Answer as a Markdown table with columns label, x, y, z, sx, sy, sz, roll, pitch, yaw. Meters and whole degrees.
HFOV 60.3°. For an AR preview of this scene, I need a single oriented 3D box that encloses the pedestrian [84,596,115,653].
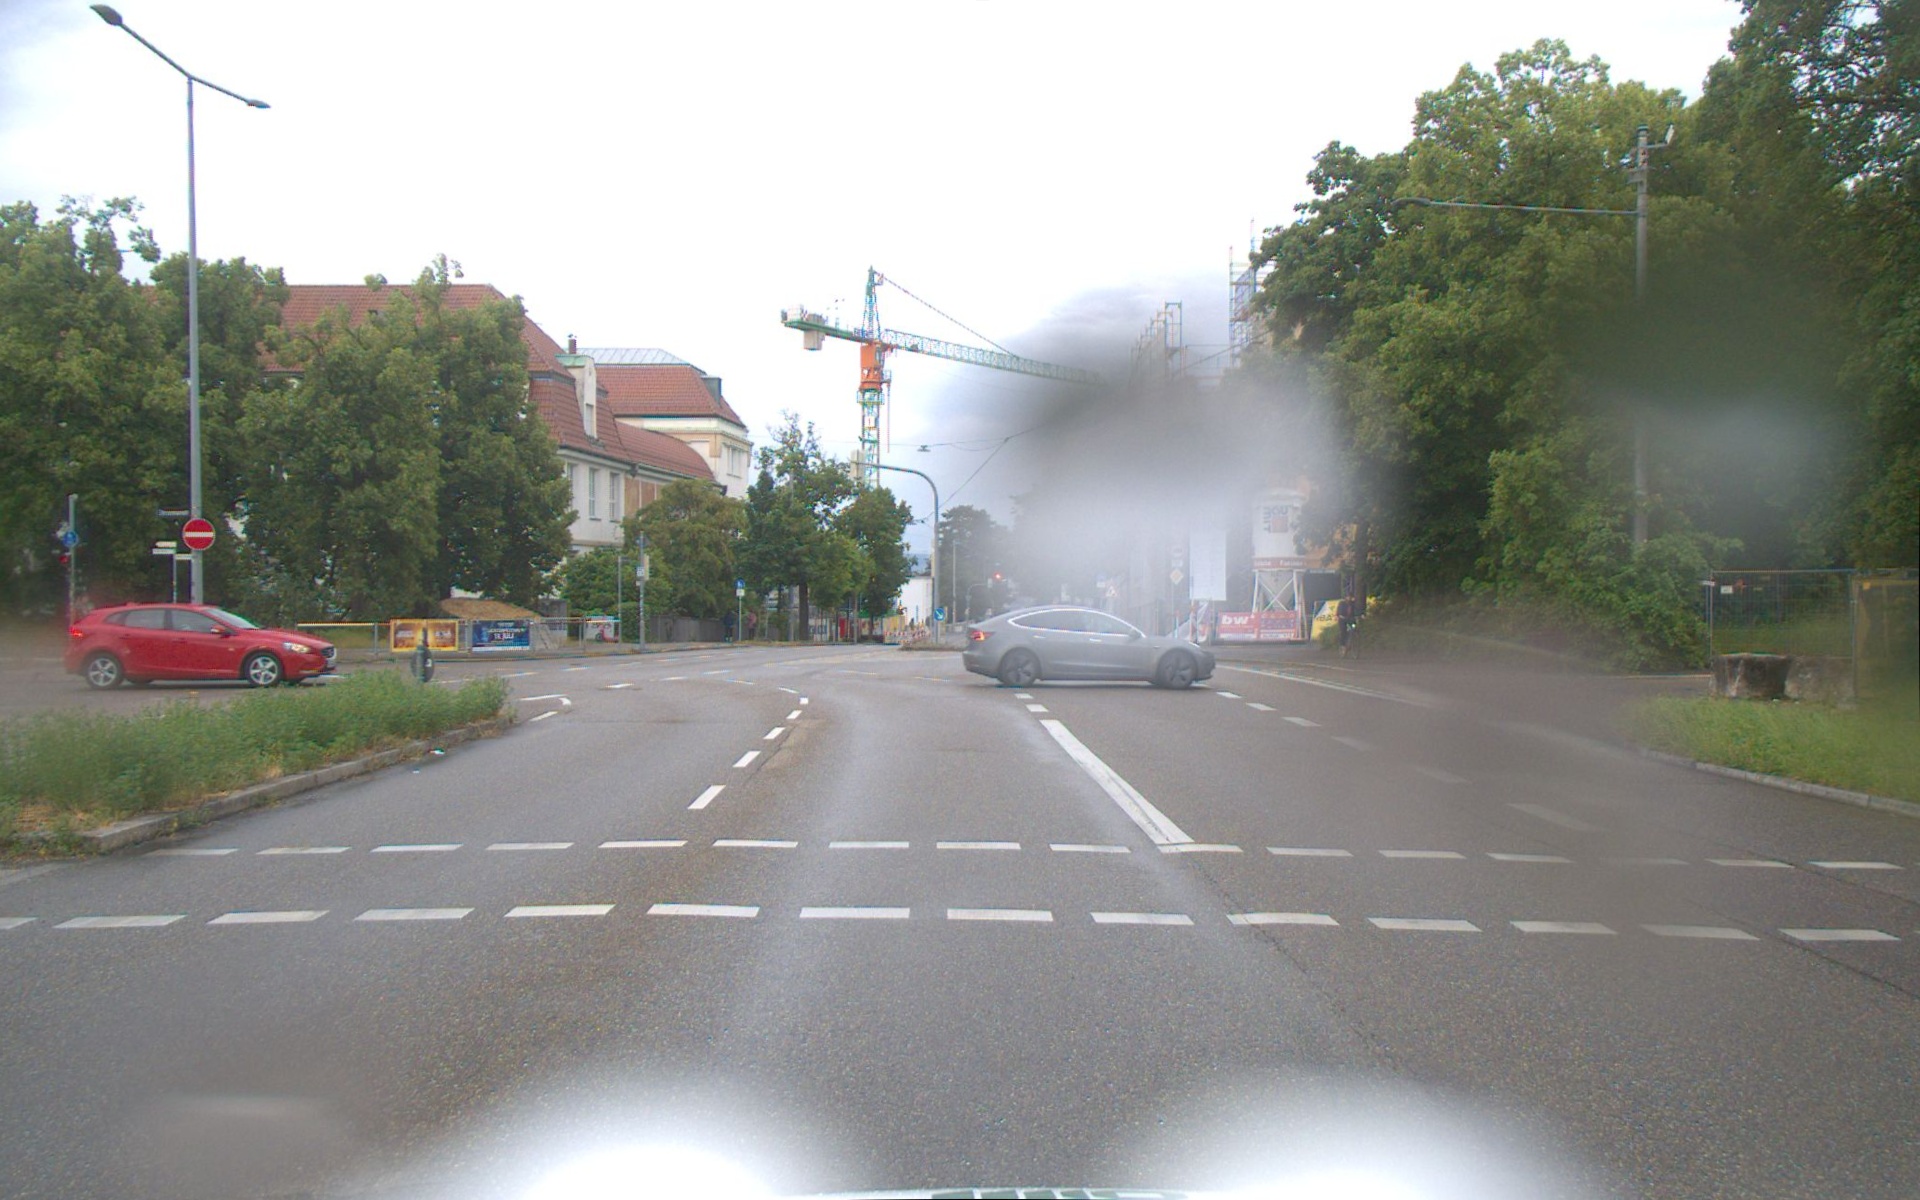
| label | x | y | z | sx | sy | sz | roll | pitch | yaw |
| --- | --- | --- | --- | --- | --- | --- | --- | --- | --- |
| pedestrian | -23.258 | 0.647 | 44.693 | 0.608 | 1.516 | 0.768 | 0 | 0 | -17 |

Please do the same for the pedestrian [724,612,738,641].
| label | x | y | z | sx | sy | sz | roll | pitch | yaw |
| --- | --- | --- | --- | --- | --- | --- | --- | --- | --- |
| pedestrian | -11.567 | 1.327 | 83.604 | 0.575 | 1.454 | 0.467 | 2 | -2 | -1 |

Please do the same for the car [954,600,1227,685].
| label | x | y | z | sx | sy | sz | roll | pitch | yaw |
| --- | --- | --- | --- | --- | --- | --- | --- | --- | --- |
| car | 2.294 | 0.746 | 29.963 | 4.676 | 1.450 | 1.998 | 1 | 0 | -4 |

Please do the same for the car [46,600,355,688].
| label | x | y | z | sx | sy | sz | roll | pitch | yaw |
| --- | --- | --- | --- | --- | --- | --- | --- | --- | --- |
| car | -13.103 | 0.743 | 28.772 | 4.437 | 1.450 | 1.998 | 1 | 0 | -4 |

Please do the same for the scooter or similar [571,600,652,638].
| label | x | y | z | sx | sy | sz | roll | pitch | yaw |
| --- | --- | --- | --- | --- | --- | --- | --- | --- | --- |
| scooter or similar | -13.703 | 0.735 | 65.096 | 3.026 | 1.465 | 0.948 | 0 | 0 | -4 |

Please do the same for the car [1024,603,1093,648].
| label | x | y | z | sx | sy | sz | roll | pitch | yaw |
| --- | --- | --- | --- | --- | --- | --- | --- | --- | --- |
| car | 3.359 | 0.857 | 57.213 | 1.953 | 1.450 | 4.518 | 1 | 0 | -2 |

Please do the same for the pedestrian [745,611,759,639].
| label | x | y | z | sx | sy | sz | roll | pitch | yaw |
| --- | --- | --- | --- | --- | --- | --- | --- | --- | --- |
| pedestrian | -10.616 | 1.281 | 84.530 | 0.624 | 1.410 | 0.606 | 2 | -2 | -2 |

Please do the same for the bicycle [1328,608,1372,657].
| label | x | y | z | sx | sy | sz | roll | pitch | yaw |
| --- | --- | --- | --- | --- | --- | --- | --- | --- | --- |
| bicycle | 9.965 | 0.845 | 42.345 | 0.705 | 1.214 | 1.755 | 2 | -2 | 0 |

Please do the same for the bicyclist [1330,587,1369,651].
| label | x | y | z | sx | sy | sz | roll | pitch | yaw |
| --- | --- | --- | --- | --- | --- | --- | --- | --- | --- |
| bicyclist | 9.963 | 0.501 | 42.320 | 0.705 | 1.591 | 1.142 | 2 | -2 | 0 |
